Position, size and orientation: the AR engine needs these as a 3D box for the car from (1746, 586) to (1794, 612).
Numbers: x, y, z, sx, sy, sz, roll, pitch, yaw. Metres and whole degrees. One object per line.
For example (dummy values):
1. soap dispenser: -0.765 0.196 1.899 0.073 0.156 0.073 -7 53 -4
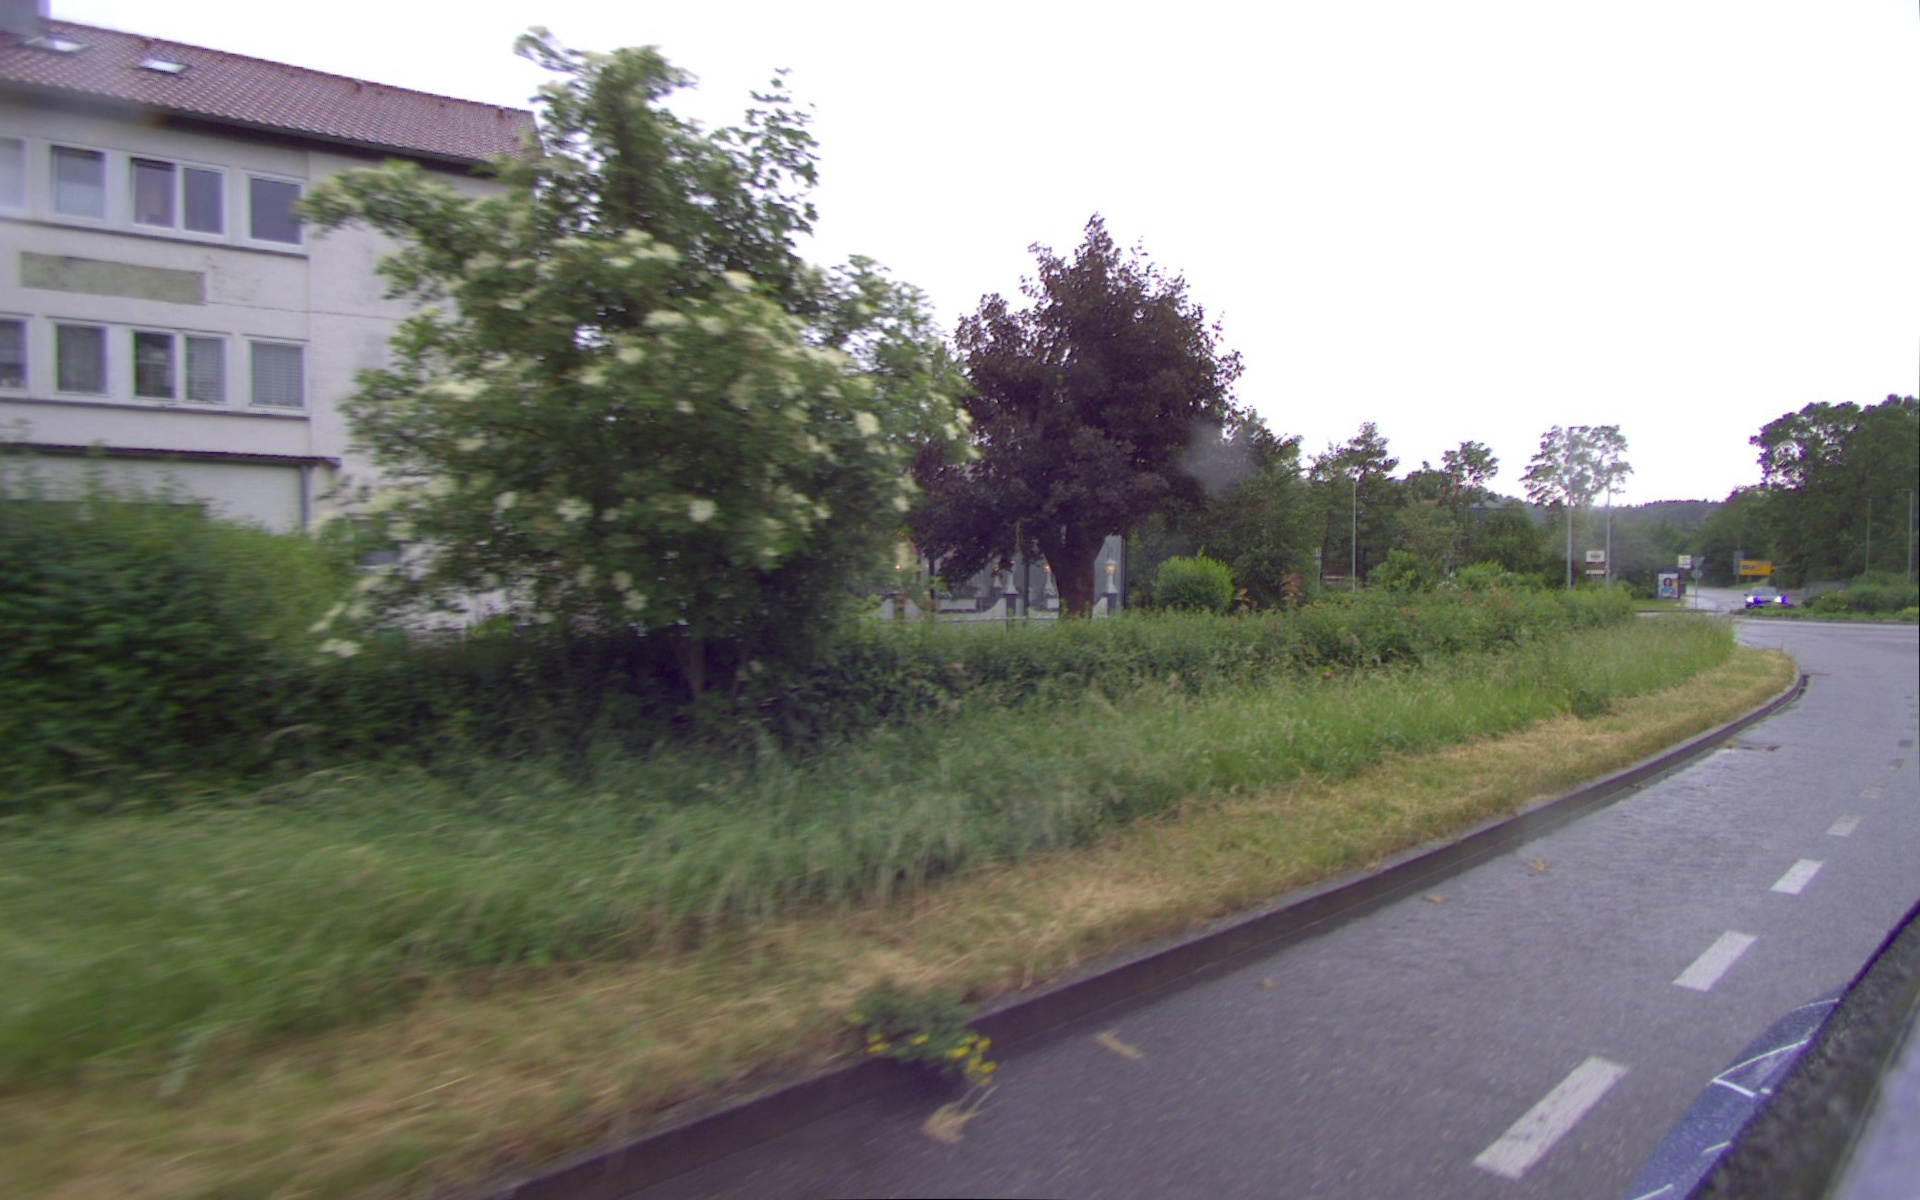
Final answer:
1. car: 51.330 -0.102 64.176 1.842 1.508 4.075 0 1 31
